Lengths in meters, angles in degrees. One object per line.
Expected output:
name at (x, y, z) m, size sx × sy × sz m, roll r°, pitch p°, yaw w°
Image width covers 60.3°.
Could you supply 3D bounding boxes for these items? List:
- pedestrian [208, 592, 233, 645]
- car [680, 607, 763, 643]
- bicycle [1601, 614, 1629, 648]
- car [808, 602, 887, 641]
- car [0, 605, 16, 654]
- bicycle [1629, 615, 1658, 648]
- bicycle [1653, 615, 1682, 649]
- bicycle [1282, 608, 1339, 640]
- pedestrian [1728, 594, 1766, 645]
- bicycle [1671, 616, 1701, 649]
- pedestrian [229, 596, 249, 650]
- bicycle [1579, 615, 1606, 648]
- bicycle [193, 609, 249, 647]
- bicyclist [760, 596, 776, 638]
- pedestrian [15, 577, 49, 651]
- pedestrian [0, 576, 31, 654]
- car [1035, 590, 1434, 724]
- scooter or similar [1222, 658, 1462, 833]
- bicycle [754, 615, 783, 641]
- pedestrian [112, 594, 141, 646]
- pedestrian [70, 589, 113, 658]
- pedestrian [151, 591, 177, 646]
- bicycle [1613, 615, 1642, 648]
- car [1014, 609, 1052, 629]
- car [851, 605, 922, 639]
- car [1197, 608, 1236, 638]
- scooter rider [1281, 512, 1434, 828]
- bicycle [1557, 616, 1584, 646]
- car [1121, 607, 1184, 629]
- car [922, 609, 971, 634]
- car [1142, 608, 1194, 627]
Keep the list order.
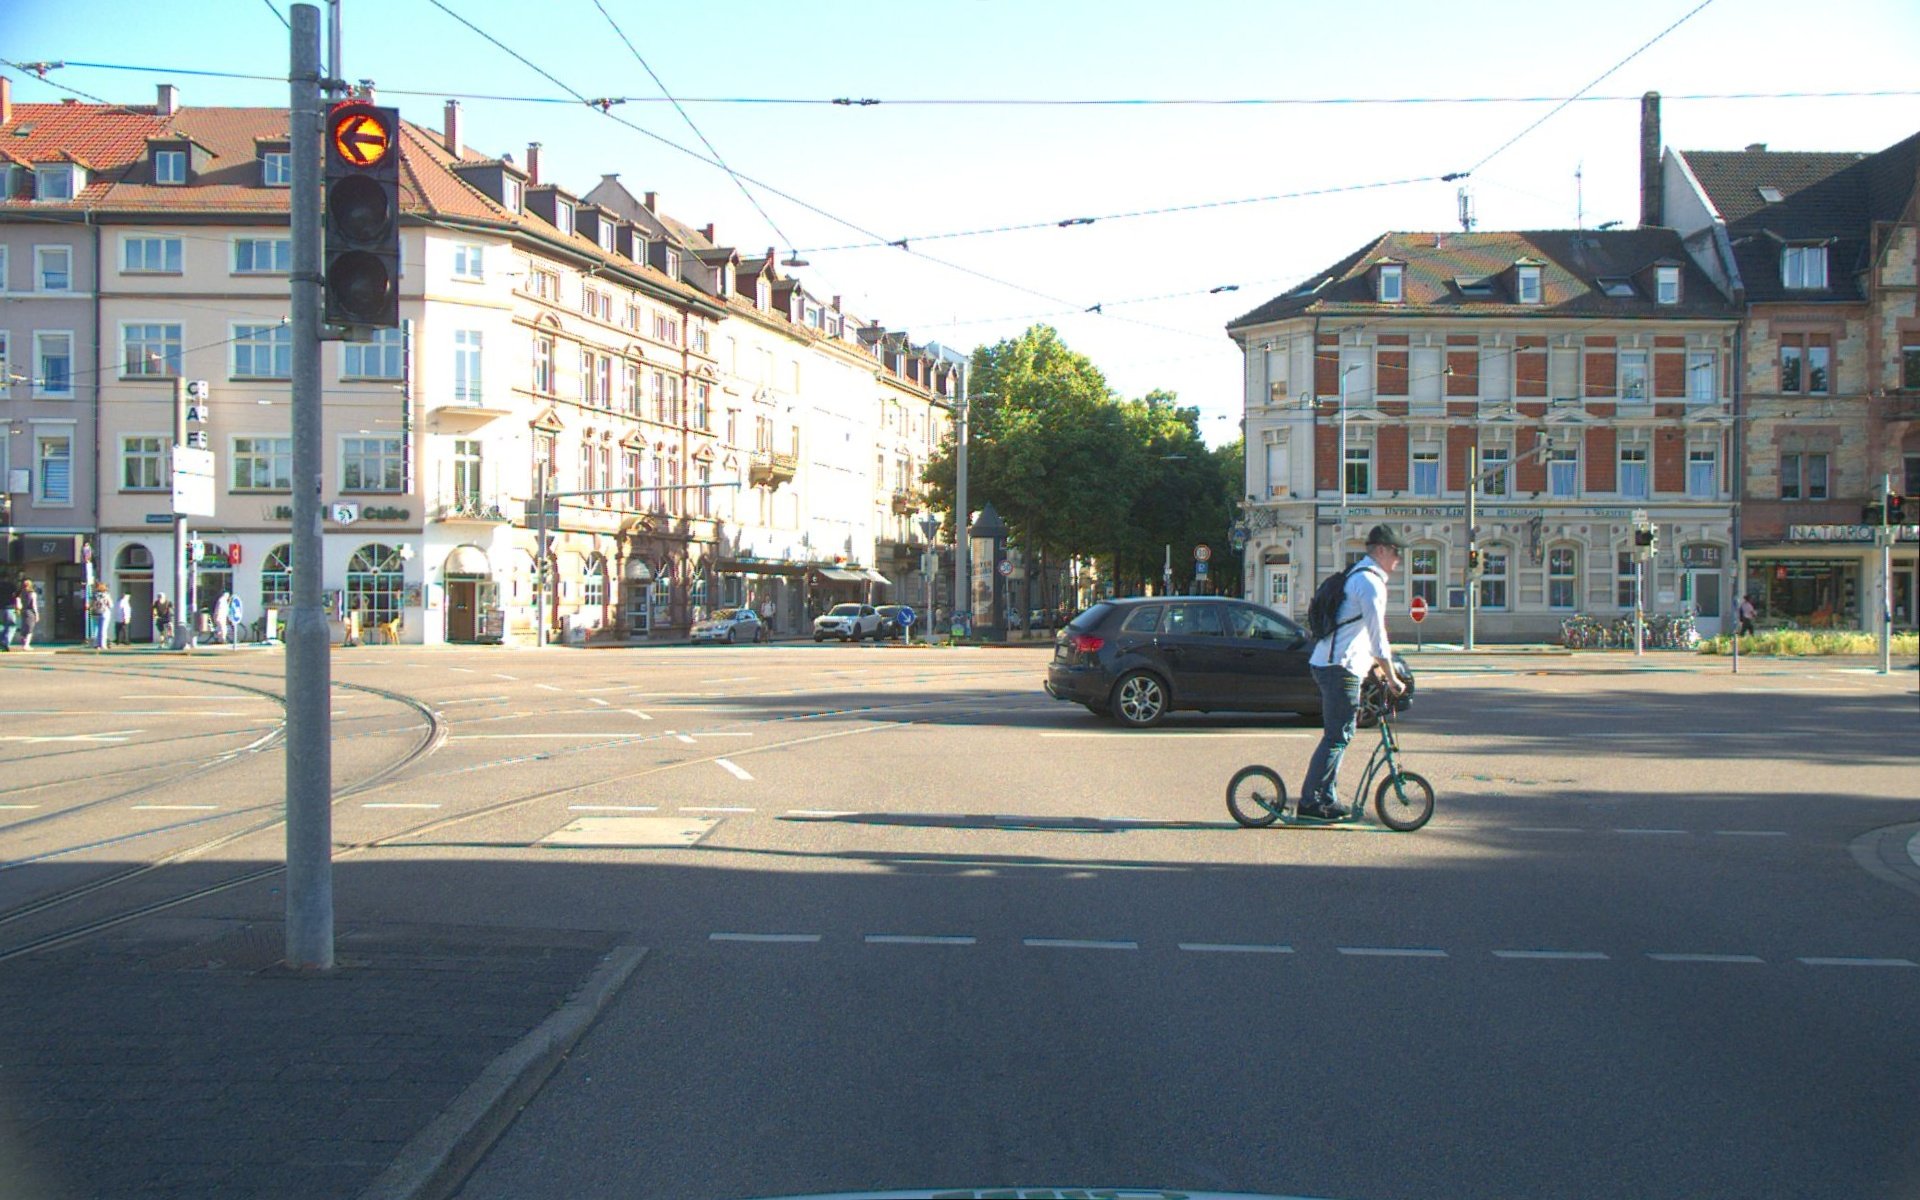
pedestrian at (-24.418, 0.606, 54.616) m, size 0.731 × 1.711 × 0.623 m, roll 0°, pitch 0°, yaw -26°
car at (-9.599, 0.986, 66.885) m, size 1.951 × 1.385 × 3.821 m, roll 0°, pitch 0°, yaw 15°
bicycle at (21.165, 0.999, 53.492) m, size 0.476 × 1.038 × 1.785 m, roll 0°, pitch 0°, yaw 9°
car at (-4.531, 0.848, 67.392) m, size 1.951 × 1.542 × 4.172 m, roll 0°, pitch 0°, yaw 15°
car at (-32.131, 0.905, 52.156) m, size 3.651 × 1.517 × 1.818 m, roll 1°, pitch 0°, yaw 2°
bicycle at (22.112, 1.015, 53.488) m, size 0.476 × 1.038 × 1.785 m, roll 0°, pitch 0°, yaw 9°
bicycle at (22.907, 1.029, 53.568) m, size 0.476 × 1.038 × 1.785 m, roll 0°, pitch 0°, yaw 9°
bicycle at (12.177, 0.826, 57.521) m, size 1.911 × 1.072 × 0.716 m, roll 0°, pitch 0°, yaw 9°
pedestrian at (27.131, 0.665, 57.015) m, size 1.013 × 1.741 × 0.630 m, roll 1°, pitch -1°, yaw 8°
bicycle at (23.592, 1.042, 53.751) m, size 0.476 × 1.038 × 1.785 m, roll 0°, pitch 0°, yaw 9°
pedestrian at (-17.185, 0.546, 39.412) m, size 0.358 × 1.275 × 0.449 m, roll 0°, pitch 0°, yaw -12°
bicycle at (20.475, 1.020, 53.583) m, size 0.476 × 1.038 × 1.785 m, roll 0°, pitch 0°, yaw 9°
bicycle at (-25.159, 0.951, 56.313) m, size 1.684 × 1.299 × 0.385 m, roll 0°, pitch 0°, yaw -18°
bicyclist at (-7.547, 0.654, 65.072) m, size 0.479 × 1.629 × 0.667 m, roll 0°, pitch 0°, yaw 9°
pedestrian at (-22.951, 0.340, 40.896) m, size 0.549 × 1.817 × 0.559 m, roll 0°, pitch 0°, yaw -6°
pedestrian at (-22.934, 0.350, 39.805) m, size 0.751 × 1.861 × 0.722 m, roll 0°, pitch 0°, yaw -1°
car at (3.064, 0.630, 18.844) m, size 4.190 × 1.405 × 1.643 m, roll 1°, pitch 0°, yaw -8°
scooter or similar at (2.425, 0.913, 10.574) m, size 1.402 × 1.062 × 0.565 m, roll 0°, pitch 0°, yaw -2°
bicycle at (-7.556, 1.099, 65.171) m, size 0.641 × 1.018 × 1.666 m, roll 1°, pitch 0°, yaw 11°
pedestrian at (-27.997, 0.670, 55.589) m, size 0.727 × 1.711 × 0.626 m, roll 0°, pitch 0°, yaw -12°
pedestrian at (-21.637, 0.573, 41.220) m, size 0.725 × 1.711 × 0.628 m, roll 0°, pitch 0°, yaw -1°
pedestrian at (-24.950, 0.586, 51.837) m, size 0.731 × 1.711 × 0.623 m, roll 0°, pitch 0°, yaw -26°
bicycle at (21.614, 1.007, 53.560) m, size 0.476 × 1.038 × 1.785 m, roll 0°, pitch 0°, yaw 9°
car at (5.469, 1.378, 122.646) m, size 1.951 × 1.429 × 4.172 m, roll 0°, pitch 0°, yaw 15°
car at (-3.227, 0.953, 73.584) m, size 1.951 × 1.429 × 4.172 m, roll 0°, pitch 0°, yaw 15°
car at (12.852, 1.140, 82.713) m, size 1.717 × 1.445 × 4.003 m, roll 0°, pitch 0°, yaw 12°
scooter rider at (2.524, 0.428, 10.584) m, size 0.779 × 1.945 × 0.797 m, roll 0°, pitch 0°, yaw -1°
bicycle at (19.806, 1.013, 53.660) m, size 0.476 × 0.930 × 1.785 m, roll 0°, pitch 0°, yaw 9°
car at (12.312, 1.139, 105.569) m, size 3.902 × 1.311 × 1.696 m, roll 0°, pitch 0°, yaw 10°
car at (-0.823, 1.318, 102.061) m, size 1.951 × 1.429 × 4.172 m, roll 0°, pitch 0°, yaw 15°
car at (14.040, 1.149, 111.668) m, size 3.360 × 1.261 × 1.578 m, roll 0°, pitch 0°, yaw 10°
